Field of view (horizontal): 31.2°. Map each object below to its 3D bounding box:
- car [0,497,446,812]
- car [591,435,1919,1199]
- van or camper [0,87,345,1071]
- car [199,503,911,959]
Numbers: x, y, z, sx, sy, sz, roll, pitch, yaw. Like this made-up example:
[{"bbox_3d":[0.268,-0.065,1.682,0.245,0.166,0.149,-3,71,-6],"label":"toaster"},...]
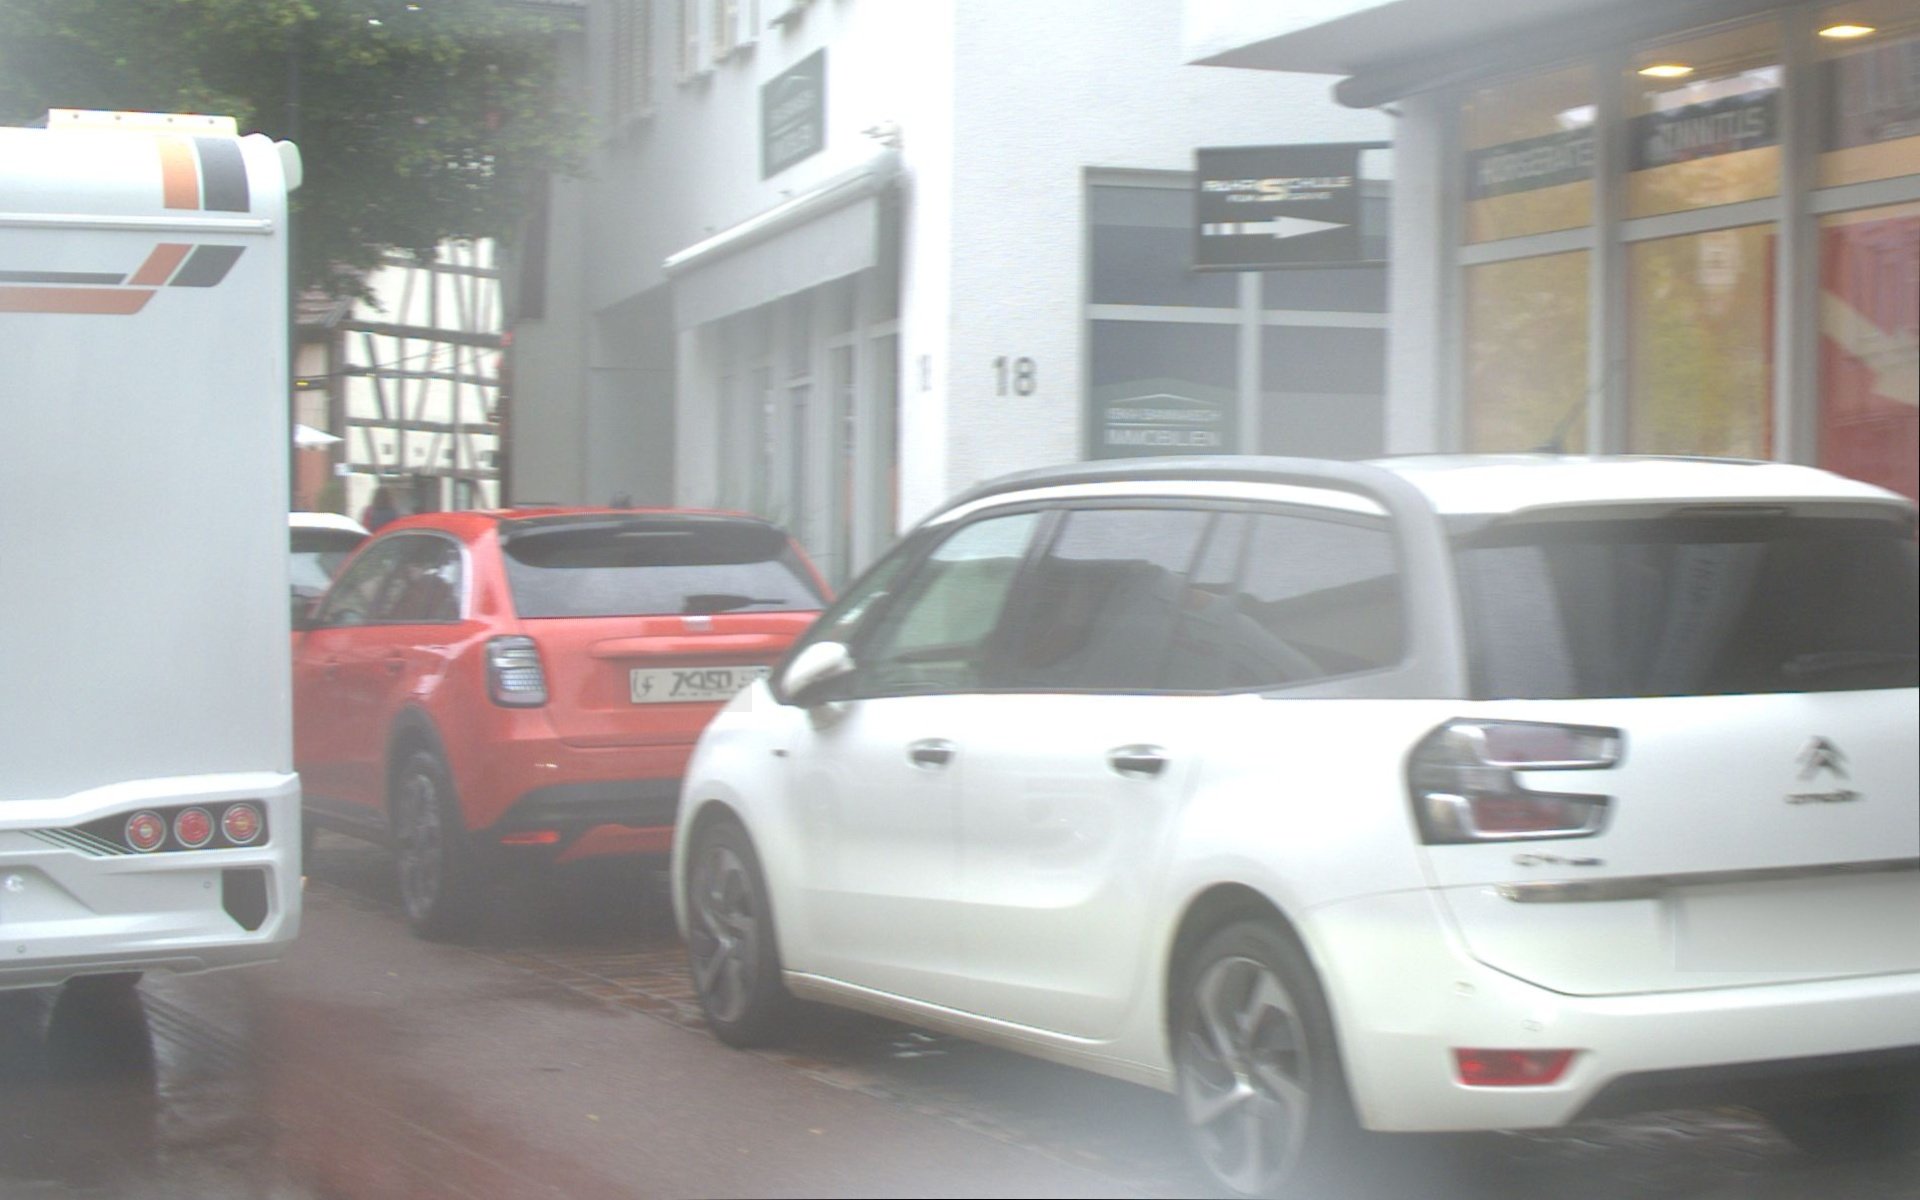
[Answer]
[{"bbox_3d":[-4.150,0.208,18.915,1.676,1.523,3.800,-1,2,-24],"label":"car"},{"bbox_3d":[0.693,0.470,8.775,1.775,1.625,4.470,0,1,-27],"label":"car"},{"bbox_3d":[-4.258,-0.128,11.911,2.437,2.576,6.752,0,1,-26],"label":"van or camper"},{"bbox_3d":[-1.741,0.385,13.602,1.677,1.523,3.800,-1,2,-25],"label":"car"}]
